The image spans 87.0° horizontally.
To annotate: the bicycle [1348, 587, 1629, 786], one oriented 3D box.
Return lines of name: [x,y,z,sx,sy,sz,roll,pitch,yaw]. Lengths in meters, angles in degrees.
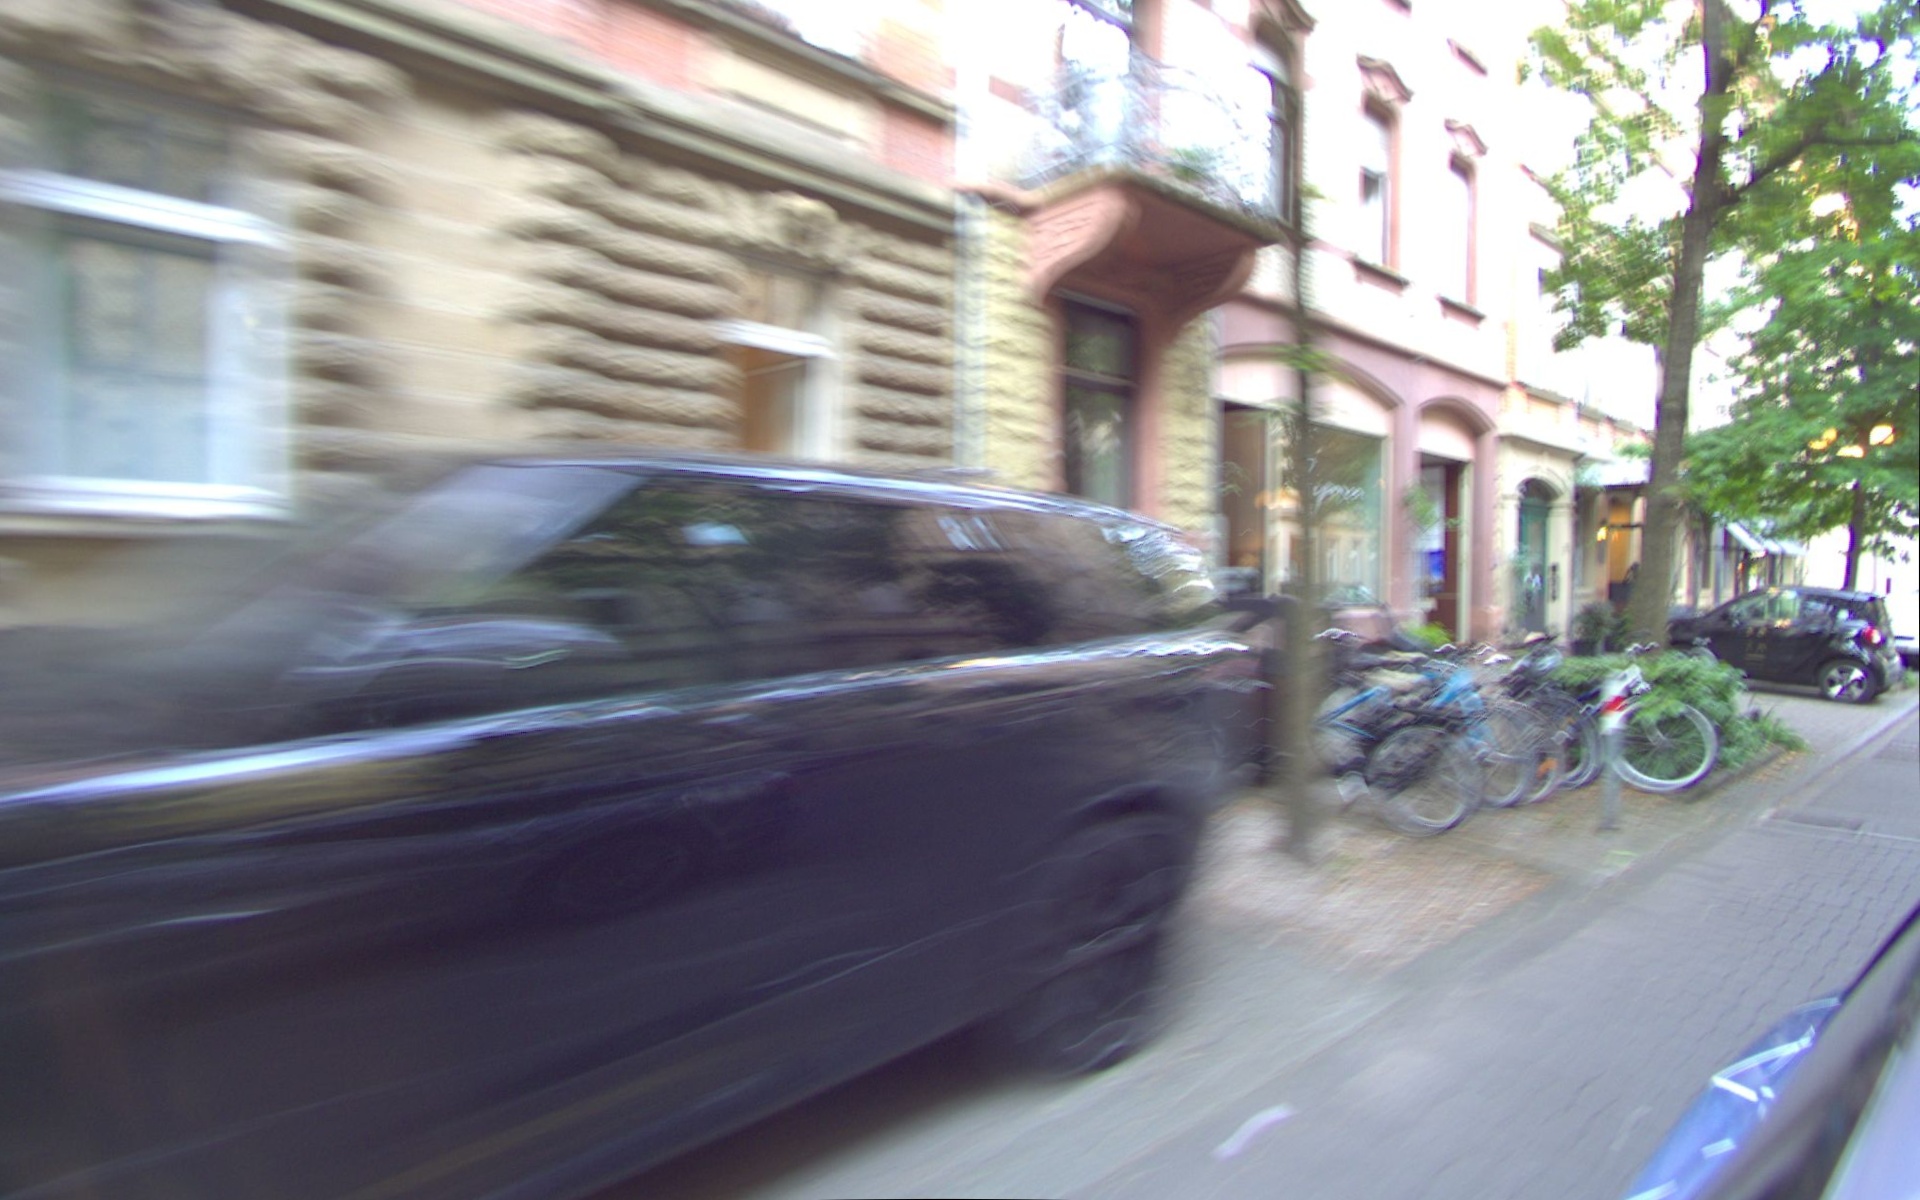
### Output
bicycle: [4.150,0.605,8.062,0.788,1.309,1.765,0,3,-41]

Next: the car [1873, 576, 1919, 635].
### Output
car: [27.692,0.194,28.492,1.499,1.592,2.720,0,3,-41]

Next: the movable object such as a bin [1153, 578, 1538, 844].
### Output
movable object such as a bin: [2.394,0.587,6.620,0.756,1.321,2.223,0,4,-38]

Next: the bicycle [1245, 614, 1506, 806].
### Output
bicycle: [2.935,0.715,7.303,0.572,1.158,1.663,0,1,-37]

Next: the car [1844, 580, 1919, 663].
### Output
car: [19.250,0.389,20.323,4.033,1.509,1.736,0,2,-42]

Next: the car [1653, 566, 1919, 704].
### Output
car: [11.986,0.405,14.622,1.769,1.618,2.804,-1,5,-40]

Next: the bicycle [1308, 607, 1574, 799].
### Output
bicycle: [3.526,0.689,7.556,0.572,1.213,1.701,0,1,-37]

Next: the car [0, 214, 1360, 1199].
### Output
car: [-1.019,0.366,2.862,4.727,1.855,2.018,0,4,-42]

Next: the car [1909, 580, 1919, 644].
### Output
car: [24.930,0.306,25.417,2.870,1.571,1.465,-1,2,-45]

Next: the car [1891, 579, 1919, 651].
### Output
car: [22.517,0.333,23.117,3.070,1.580,1.593,-1,1,-43]
